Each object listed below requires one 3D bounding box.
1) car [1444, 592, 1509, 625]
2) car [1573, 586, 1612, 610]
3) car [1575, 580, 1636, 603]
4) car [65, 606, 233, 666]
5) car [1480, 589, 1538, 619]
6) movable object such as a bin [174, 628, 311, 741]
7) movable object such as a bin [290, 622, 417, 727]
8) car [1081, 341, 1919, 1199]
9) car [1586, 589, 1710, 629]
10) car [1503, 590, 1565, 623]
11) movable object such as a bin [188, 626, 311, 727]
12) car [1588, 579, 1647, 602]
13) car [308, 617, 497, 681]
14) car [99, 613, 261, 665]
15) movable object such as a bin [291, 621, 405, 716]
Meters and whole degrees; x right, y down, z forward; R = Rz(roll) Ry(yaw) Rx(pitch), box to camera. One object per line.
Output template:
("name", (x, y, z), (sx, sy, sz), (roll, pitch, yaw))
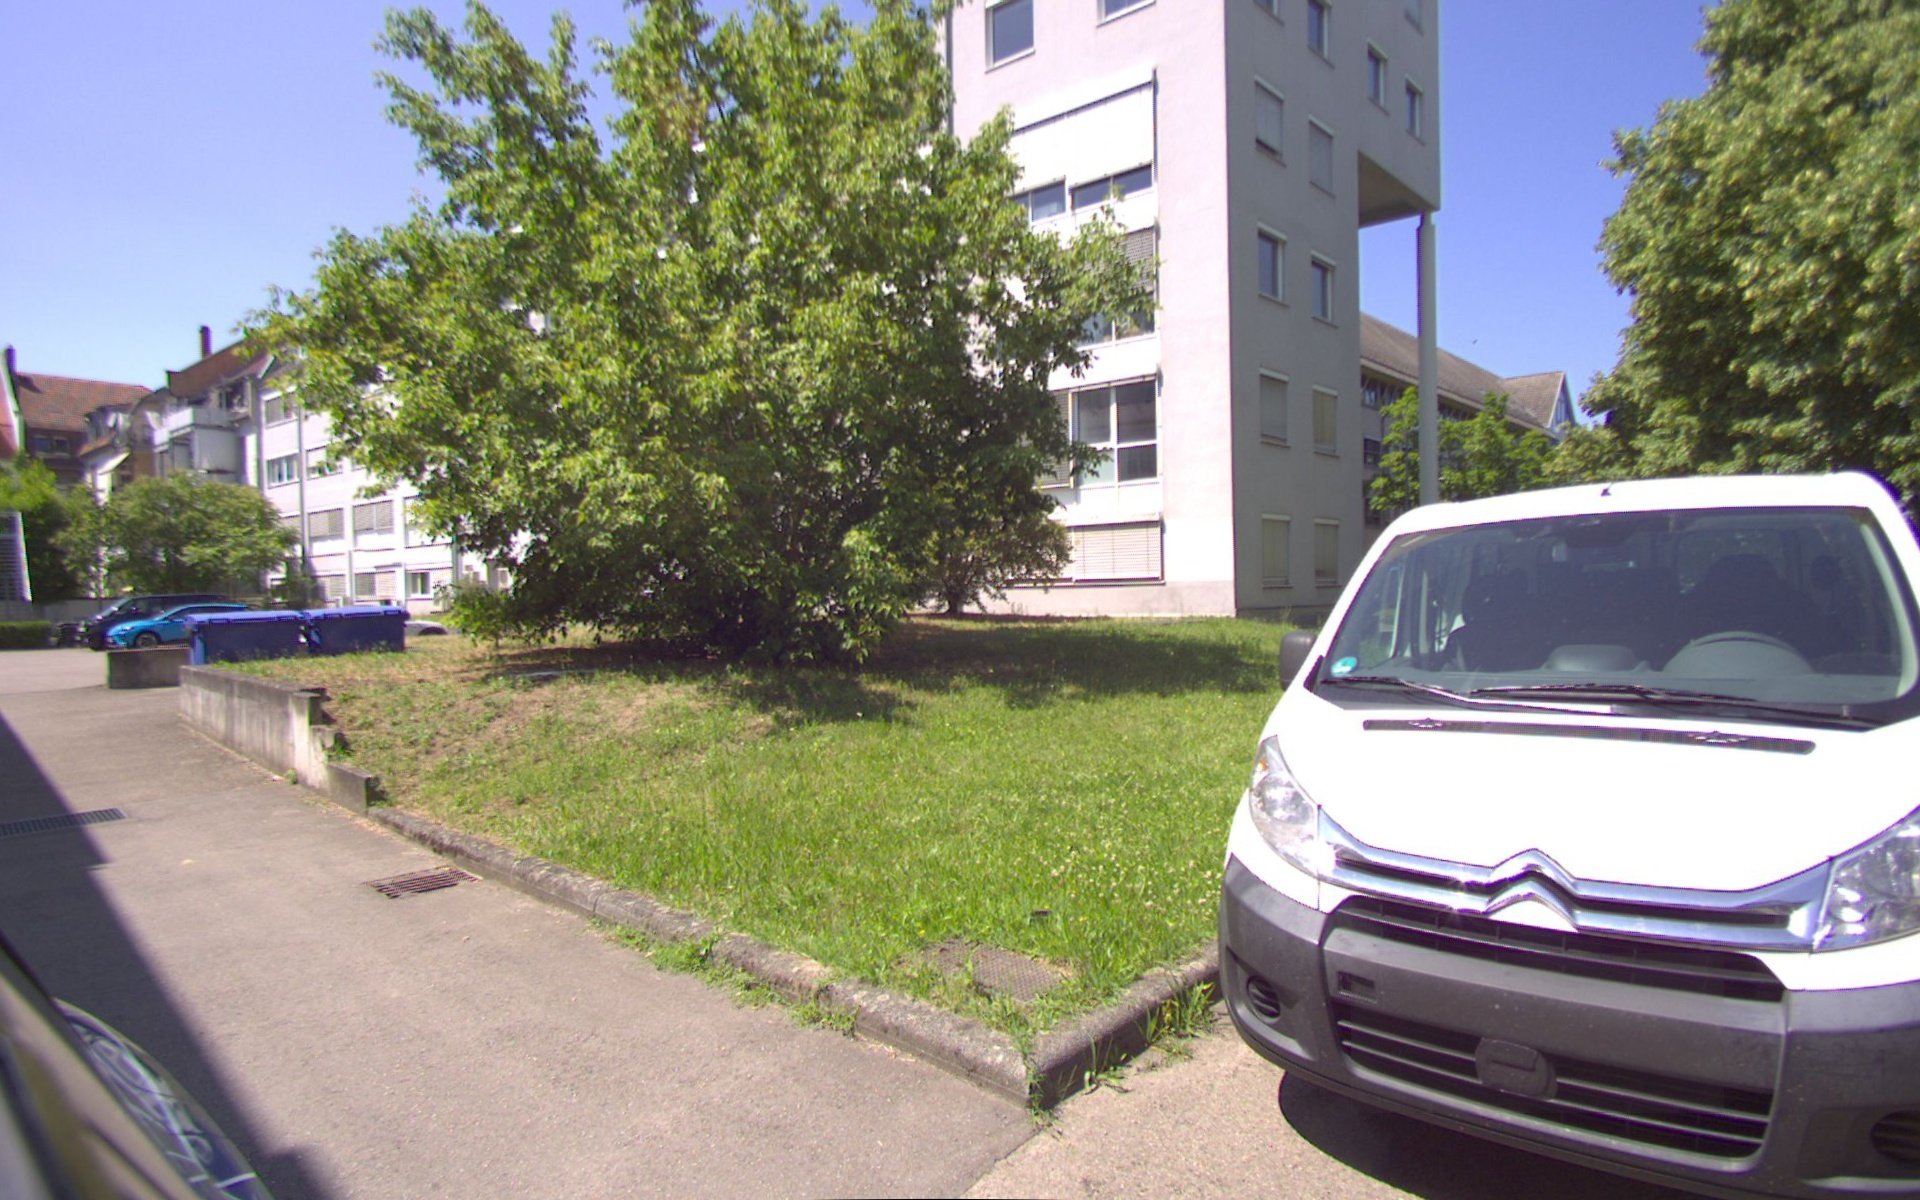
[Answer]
("car", (27.309, 0.441, 53.456), (1.977, 1.630, 4.112), (-1, 0, 43))
("car", (45.939, -0.151, 73.473), (1.974, 1.630, 4.117), (-1, 0, 39))
("car", (52.327, -0.688, 82.082), (3.993, 1.746, 1.770), (-2, 0, 37))
("car", (-29.165, 1.248, 36.512), (1.999, 1.845, 4.392), (-1, 1, 40))
("car", (31.653, 0.217, 58.286), (1.976, 1.630, 4.112), (-1, 0, 43))
("movable object such as a bin", (-9.434, 1.069, 13.316), (1.104, 1.337, 1.240), (-2, 0, 44))
("movable object such as a bin", (-8.554, 1.014, 14.278), (1.104, 1.337, 1.240), (-2, 0, 44))
("car", (2.616, 0.544, 3.884), (1.997, 1.926, 4.742), (-5, -2, 38))
("car", (29.361, 0.384, 43.254), (4.169, 1.630, 1.949), (-1, 0, 41))
("car", (30.742, 0.335, 54.173), (1.976, 1.630, 4.112), (-1, 0, 43))
("movable object such as a bin", (-10.429, 1.085, 14.859), (1.104, 1.337, 1.240), (-2, 0, 44))
("car", (54.310, -0.775, 83.602), (3.993, 1.746, 1.770), (-2, 0, 37))
("car", (-14.378, 1.215, 26.242), (1.710, 1.447, 3.947), (-2, -1, 40))
("car", (-26.945, 1.310, 35.078), (1.857, 1.565, 4.116), (-2, 0, 38))
("movable object such as a bin", (-9.577, 1.039, 15.836), (1.104, 1.337, 1.240), (-2, 0, 44))
